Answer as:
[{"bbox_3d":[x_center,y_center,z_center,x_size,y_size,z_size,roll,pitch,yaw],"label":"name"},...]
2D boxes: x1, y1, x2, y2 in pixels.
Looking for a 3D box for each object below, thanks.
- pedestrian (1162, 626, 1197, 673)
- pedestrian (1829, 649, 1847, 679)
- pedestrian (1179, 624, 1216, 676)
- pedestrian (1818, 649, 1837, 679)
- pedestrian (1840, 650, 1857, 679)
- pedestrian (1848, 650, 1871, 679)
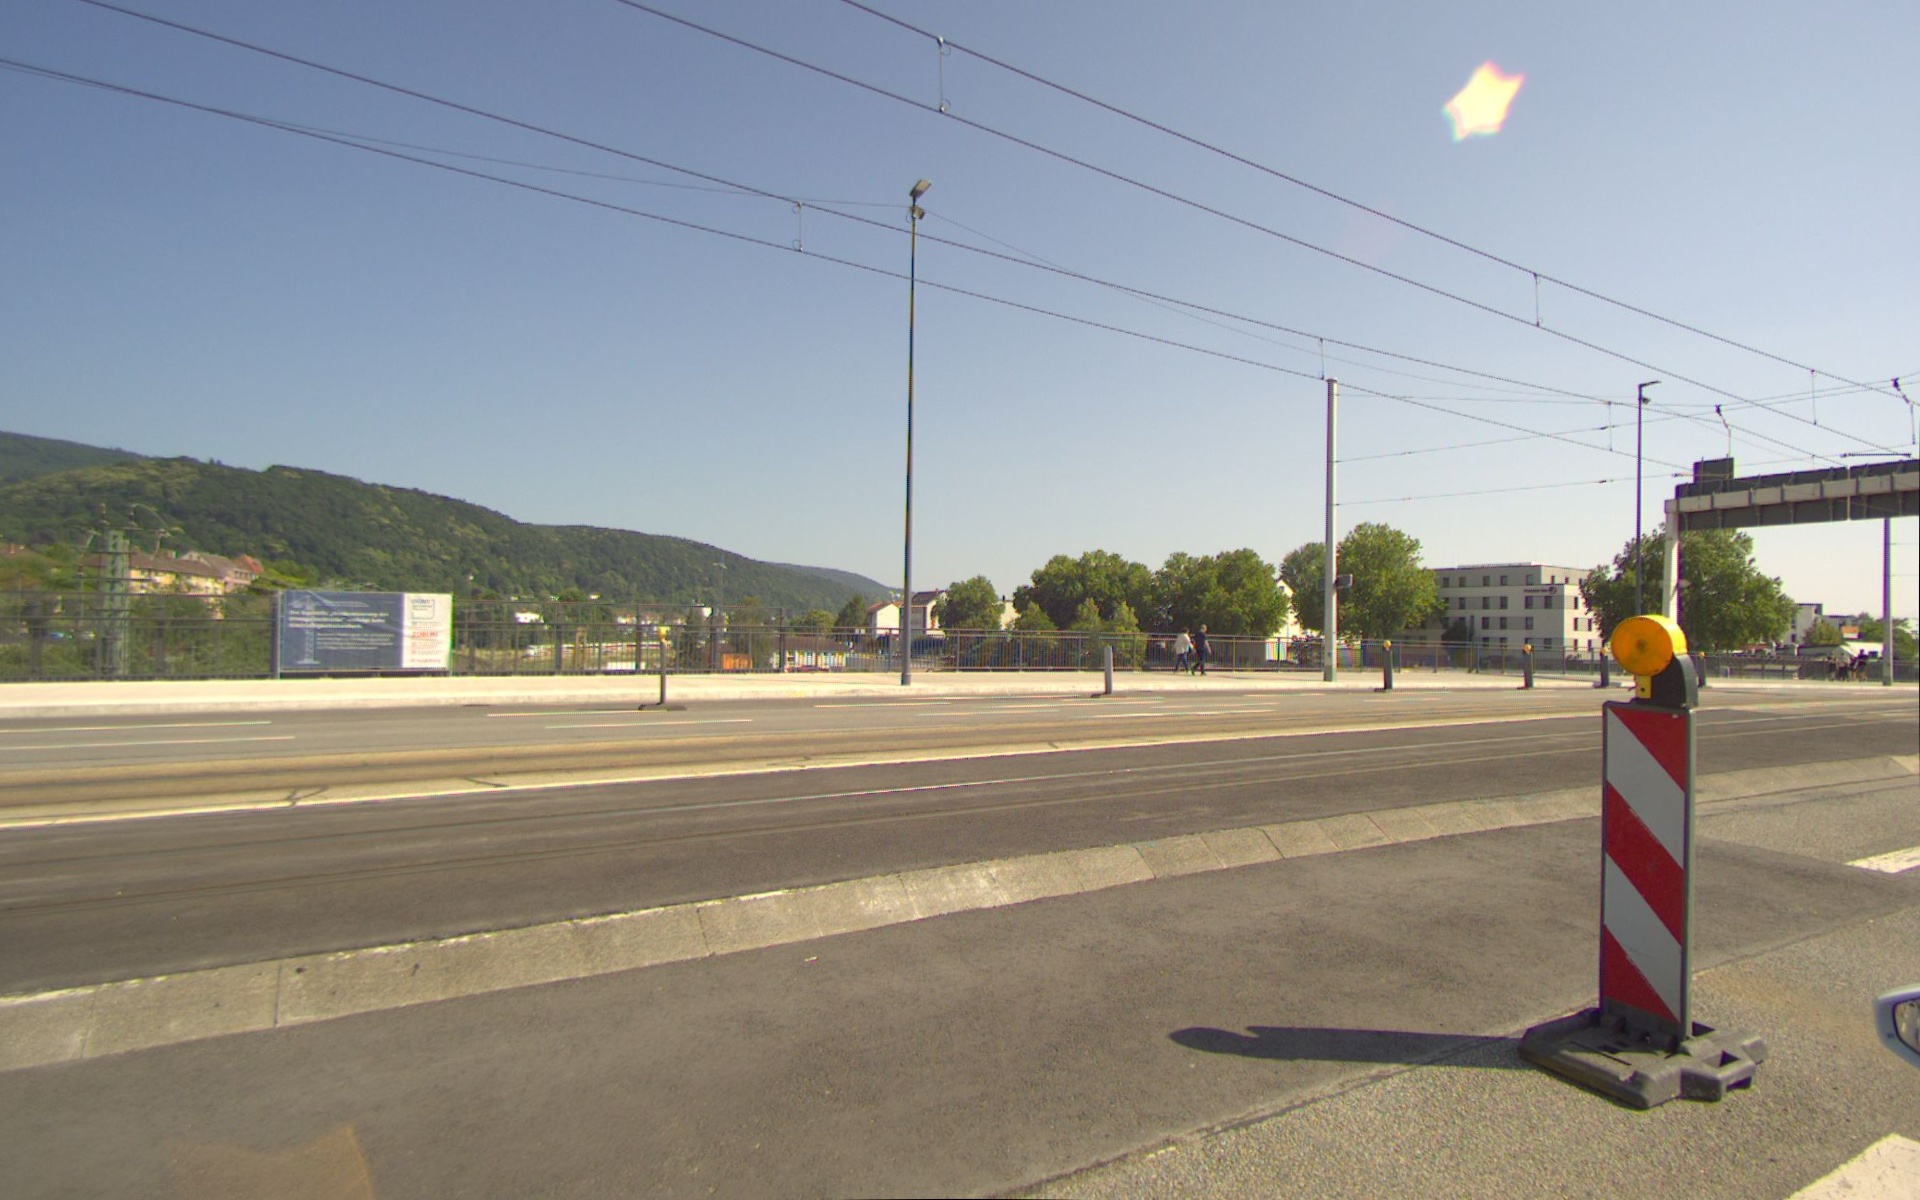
[{"bbox_3d":[7.514,1.693,34.366,0.878,1.565,0.716,2,1,-30],"label":"pedestrian"},{"bbox_3d":[50.263,3.653,57.508,0.797,1.709,0.484,2,-2,-27],"label":"pedestrian"},{"bbox_3d":[7.951,1.670,33.582,0.884,1.663,0.740,2,1,-30],"label":"pedestrian"},{"bbox_3d":[50.236,3.684,58.178,0.807,1.709,0.595,2,-2,-27],"label":"pedestrian"},{"bbox_3d":[52.739,3.807,59.597,0.763,1.709,0.502,2,-2,-27],"label":"pedestrian"},{"bbox_3d":[52.429,3.758,58.546,0.722,1.709,0.750,2,-2,-26],"label":"pedestrian"}]
